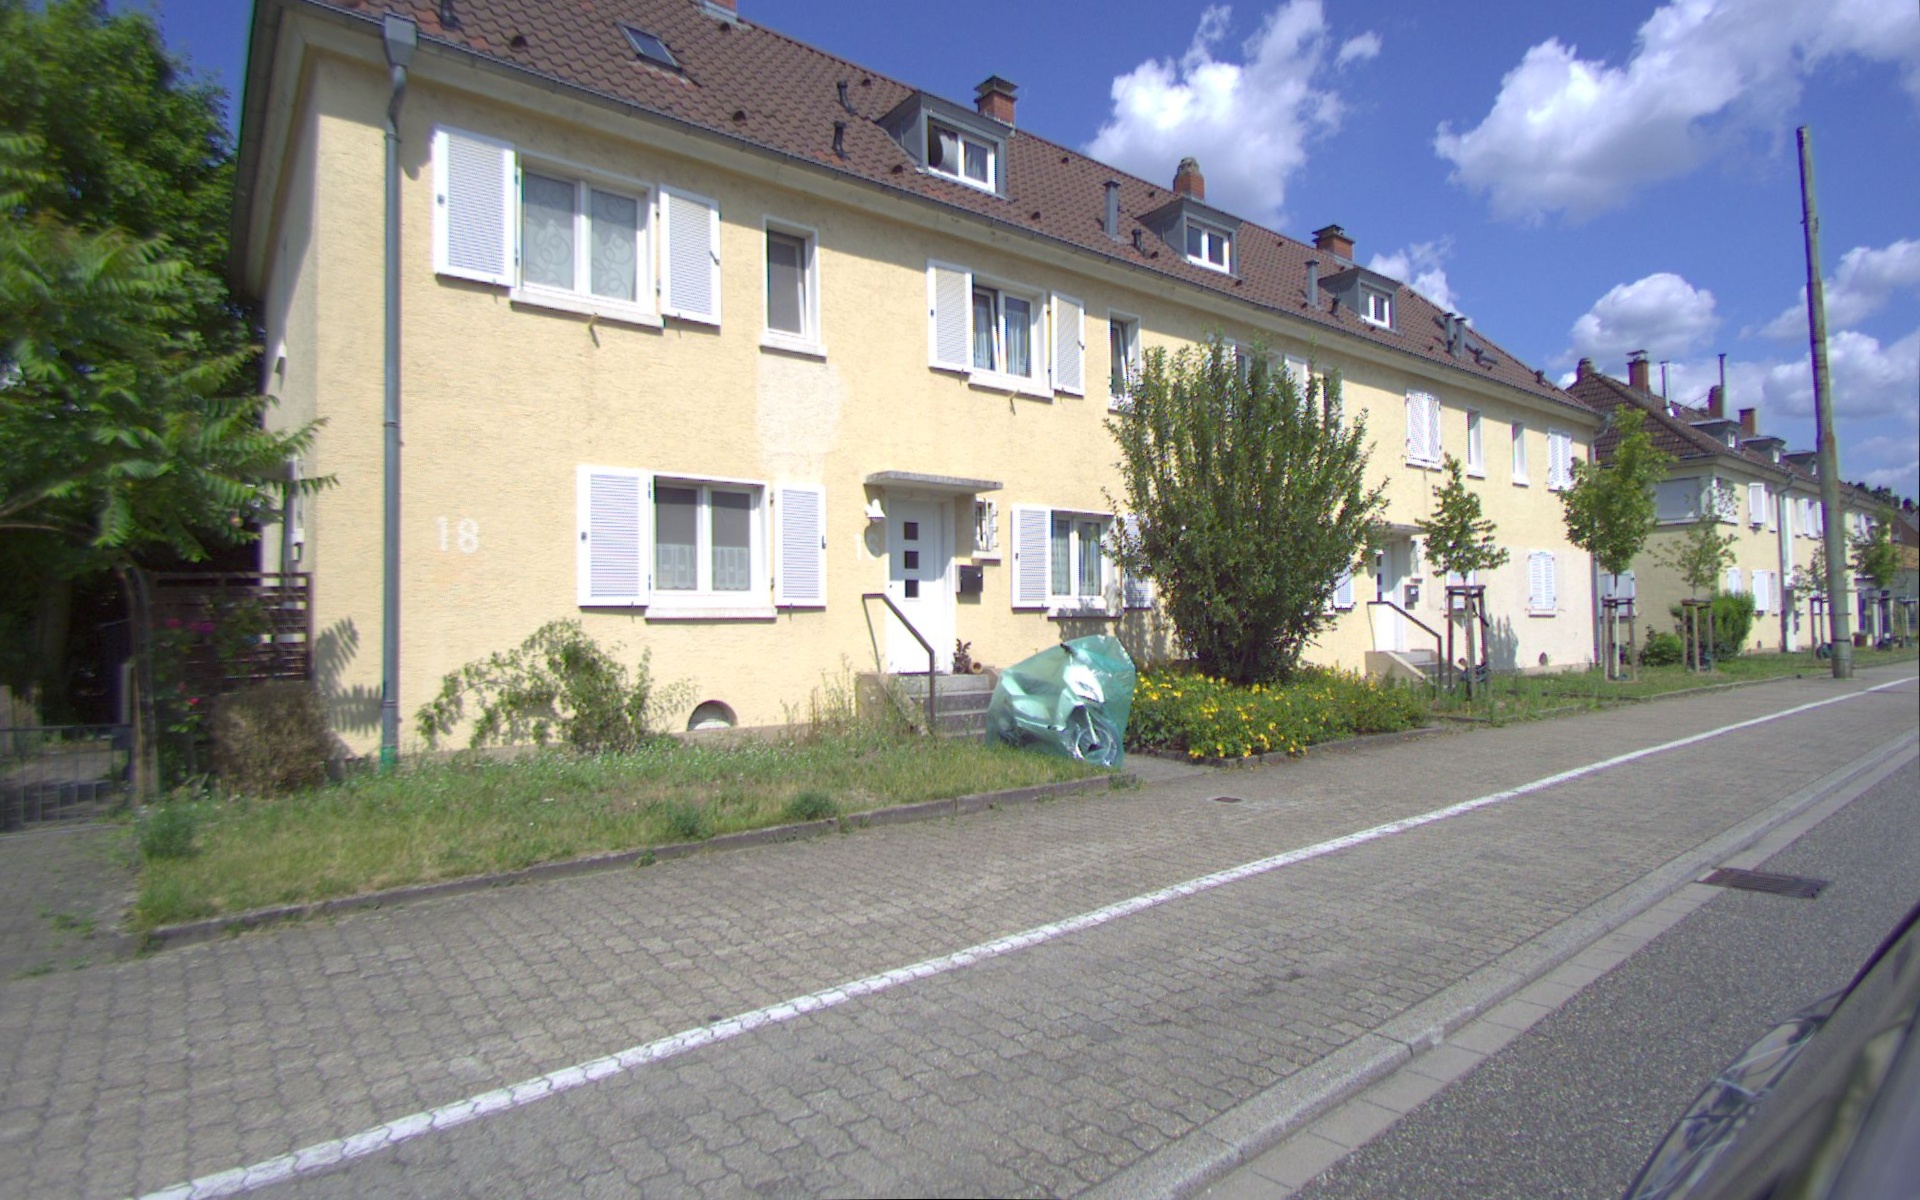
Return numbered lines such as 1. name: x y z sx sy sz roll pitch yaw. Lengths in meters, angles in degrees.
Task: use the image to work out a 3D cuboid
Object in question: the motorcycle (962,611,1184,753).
1. motorcycle: 1.028 0.740 9.848 0.838 1.213 2.233 0 -2 -37
